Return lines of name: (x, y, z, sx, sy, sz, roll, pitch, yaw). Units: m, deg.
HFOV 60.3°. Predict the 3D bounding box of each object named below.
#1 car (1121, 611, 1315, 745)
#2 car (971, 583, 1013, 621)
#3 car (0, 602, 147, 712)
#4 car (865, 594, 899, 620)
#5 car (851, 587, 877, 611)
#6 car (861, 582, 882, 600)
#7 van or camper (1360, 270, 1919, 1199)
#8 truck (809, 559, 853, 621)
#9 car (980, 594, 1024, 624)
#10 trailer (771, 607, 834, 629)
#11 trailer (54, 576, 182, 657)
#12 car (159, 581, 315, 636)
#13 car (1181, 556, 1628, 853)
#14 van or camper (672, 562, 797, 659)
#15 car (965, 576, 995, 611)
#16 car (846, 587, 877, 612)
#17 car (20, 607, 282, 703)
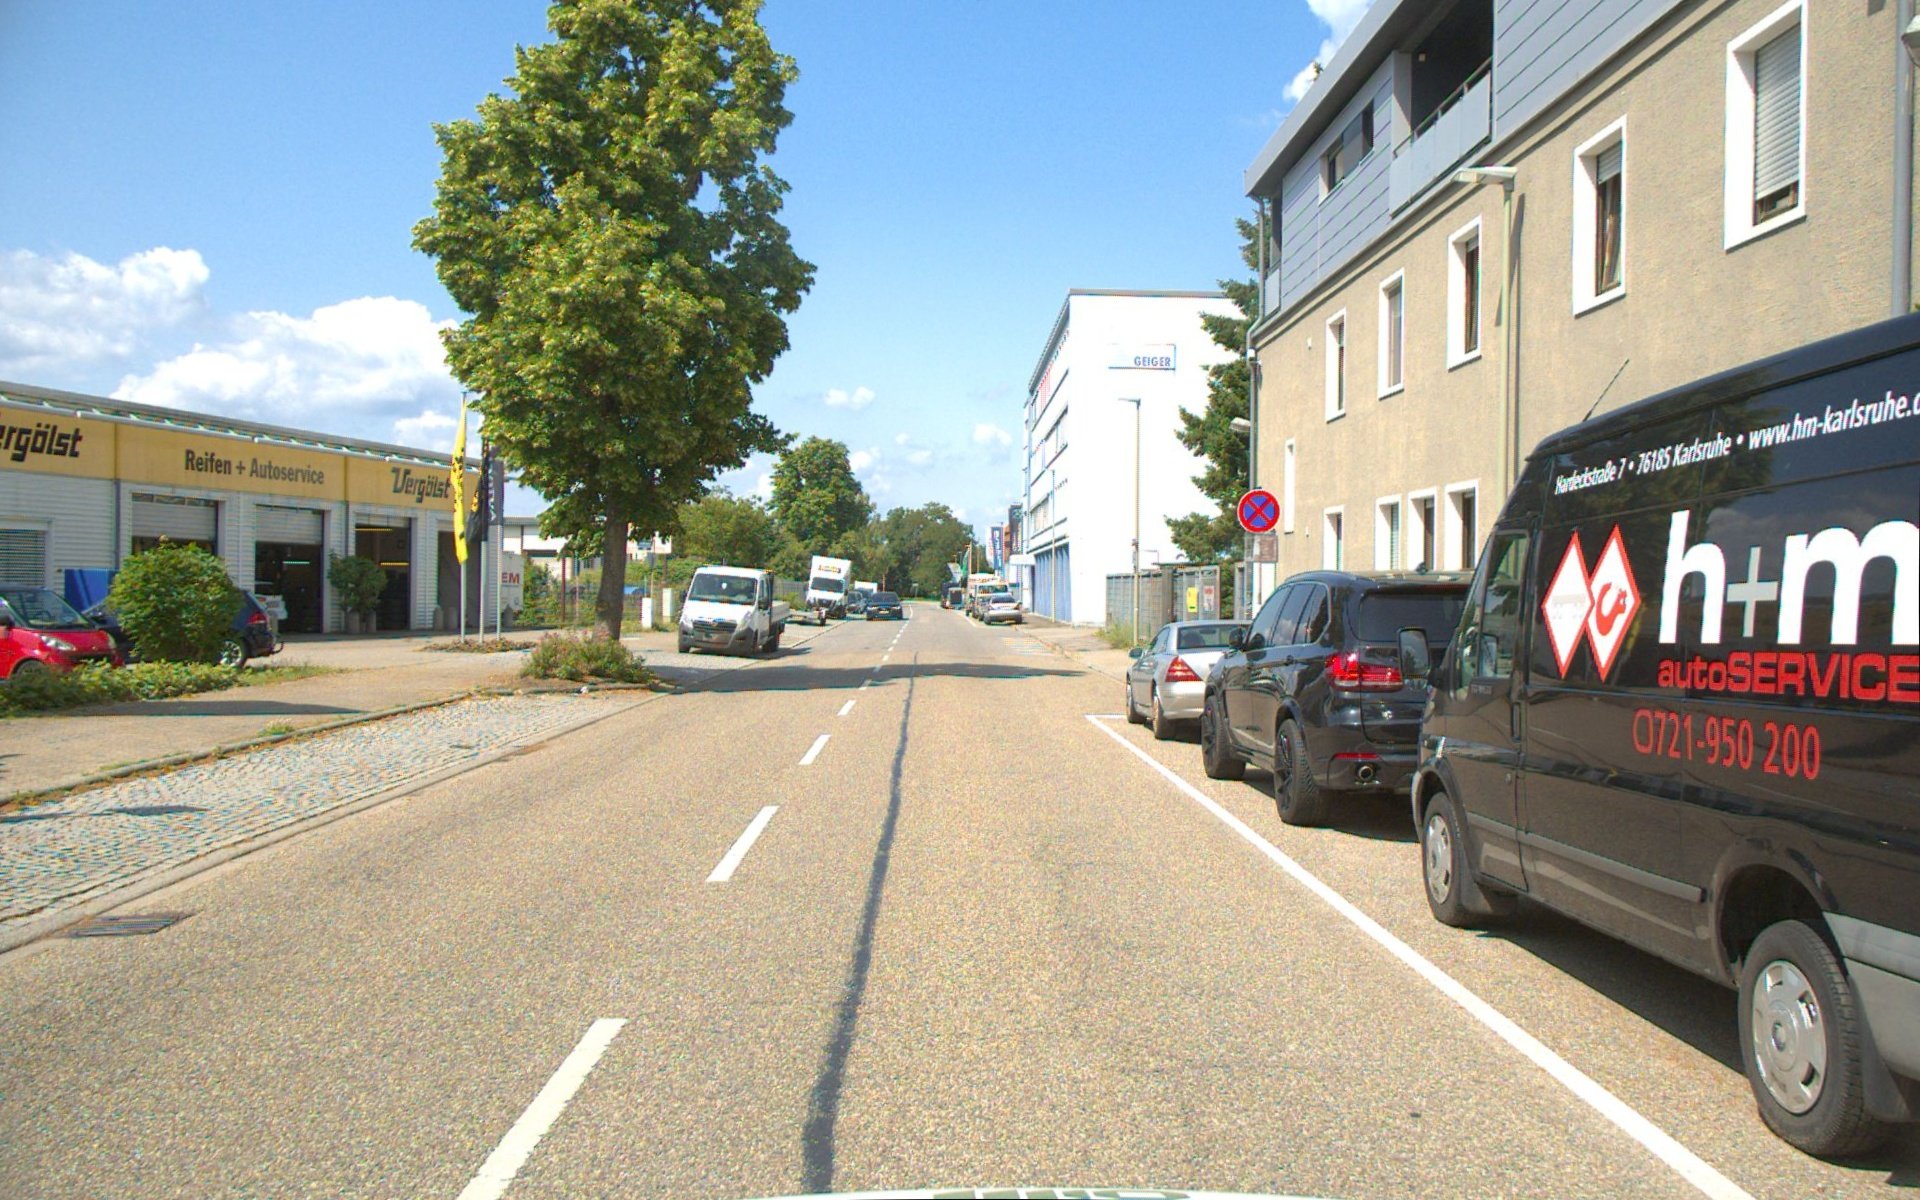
car: (2.927, 0.841, 19.498, 1.596, 1.377, 3.923, 0, 0, -1)
car: (1.738, 0.071, 92.105, 2.171, 2.049, 5.484, 0, 0, -1)
car: (-13.729, 0.762, 23.341, 3.754, 1.447, 1.732, 0, 0, 11)
car: (-4.032, 0.347, 86.283, 1.621, 1.348, 4.415, 0, 0, -1)
car: (-6.760, -0.112, 117.144, 1.678, 1.679, 3.999, 0, 0, -1)
car: (-9.009, -0.919, 168.491, 1.953, 1.847, 3.999, 0, 0, -1)
van or camper: (3.267, 0.372, 6.446, 1.953, 2.331, 5.446, 2, 0, -1)
truck: (-6.984, -0.548, 89.994, 1.988, 3.209, 6.499, 0, 0, -1)
car: (1.969, 0.406, 78.239, 1.889, 1.333, 3.999, 0, 0, -1)
trailer: (-7.085, 0.803, 75.166, 2.368, 0.828, 5.536, 2, 0, -1)
trailer: (-18.041, 0.336, 35.518, 1.341, 1.678, 2.207, 0, 0, 14)
car: (-20.259, 0.212, 46.349, 3.910, 1.489, 1.987, 0, 0, 27)
car: (3.126, 0.643, 12.851, 1.921, 1.812, 4.952, 2, 0, -2)
van or camper: (-6.093, 0.231, 45.765, 2.128, 2.455, 7.699, 0, 0, 2)
car: (1.231, -0.407, 102.518, 1.673, 2.126, 3.999, 0, 0, -2)
car: (-6.672, -0.056, 112.660, 1.953, 1.713, 3.999, 0, 0, -1)
car: (-13.487, 0.883, 27.831, 3.733, 1.401, 1.868, -1, 1, -20)
